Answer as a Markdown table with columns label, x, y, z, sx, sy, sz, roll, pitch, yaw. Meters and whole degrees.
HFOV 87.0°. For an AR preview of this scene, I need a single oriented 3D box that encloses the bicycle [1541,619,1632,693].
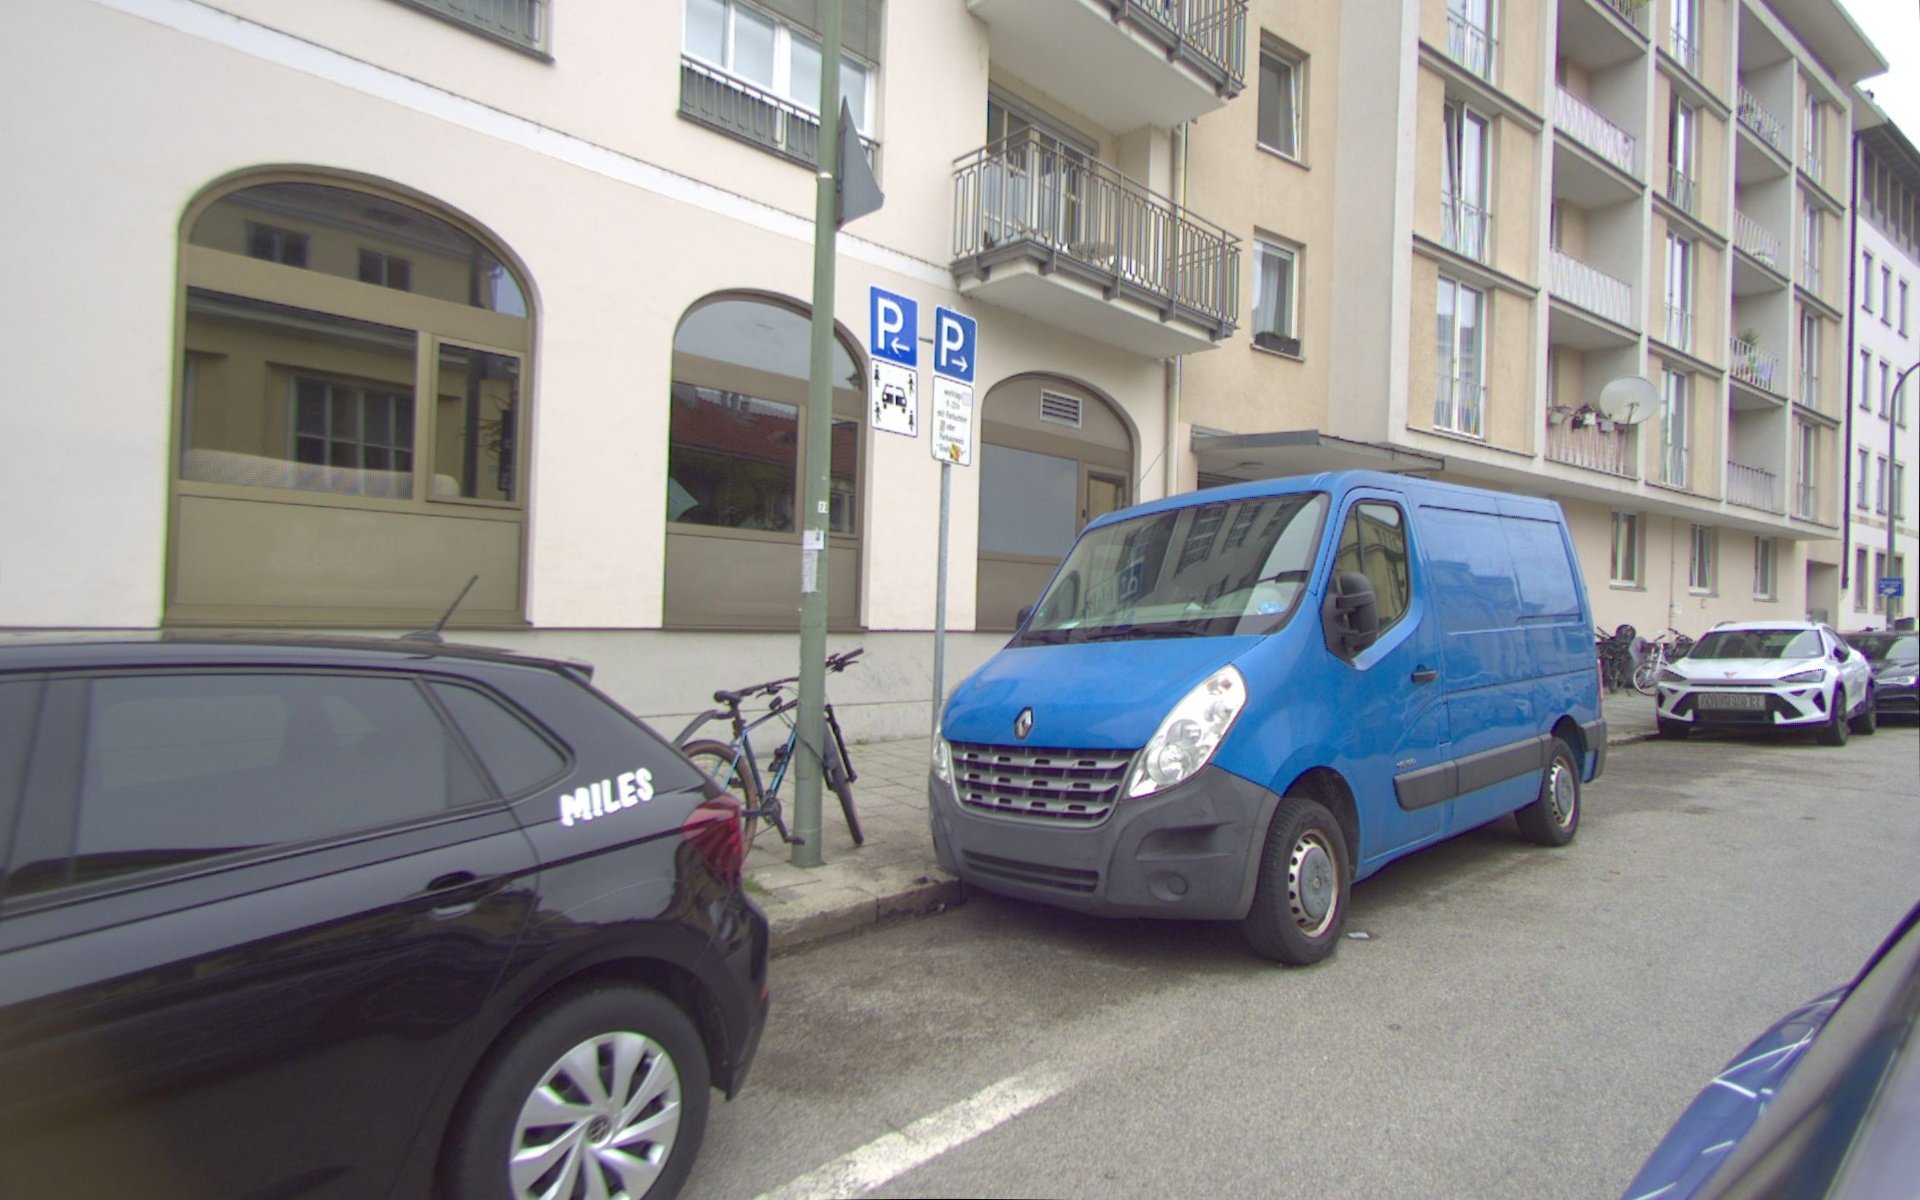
| label | x | y | z | sx | sy | sz | roll | pitch | yaw |
| --- | --- | --- | --- | --- | --- | --- | --- | --- | --- |
| bicycle | 10.912 | 0.984 | 17.619 | 1.533 | 1.216 | 0.399 | 2 | 3 | -20 |

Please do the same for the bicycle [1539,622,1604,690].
| label | x | y | z | sx | sy | sz | roll | pitch | yaw |
| --- | --- | --- | --- | --- | --- | --- | --- | --- | --- |
| bicycle | 11.520 | 1.051 | 19.057 | 1.315 | 1.216 | 0.395 | 1 | 3 | -31 |

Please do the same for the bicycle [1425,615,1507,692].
| label | x | y | z | sx | sy | sz | roll | pitch | yaw |
| --- | --- | --- | --- | --- | --- | --- | --- | --- | --- |
| bicycle | 8.428 | 0.882 | 16.845 | 1.366 | 1.216 | 0.449 | 1 | 3 | -29 |

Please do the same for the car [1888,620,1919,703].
| label | x | y | z | sx | sy | sz | roll | pitch | yaw |
| --- | --- | --- | --- | --- | --- | --- | --- | --- | --- |
| car | 19.210 | 1.128 | 19.139 | 4.043 | 1.488 | 1.705 | 2 | -4 | -37 |

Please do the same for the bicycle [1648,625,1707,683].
| label | x | y | z | sx | sy | sz | roll | pitch | yaw |
| --- | --- | --- | --- | --- | --- | --- | --- | --- | --- |
| bicycle | 15.283 | 1.137 | 21.547 | 1.571 | 1.171 | 0.515 | 2 | 1 | -37 |

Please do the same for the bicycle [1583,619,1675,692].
| label | x | y | z | sx | sy | sz | roll | pitch | yaw |
| --- | --- | --- | --- | --- | --- | --- | --- | --- | --- |
| bicycle | 12.753 | 1.042 | 19.308 | 1.337 | 1.216 | 0.388 | 6 | 4 | 42 |

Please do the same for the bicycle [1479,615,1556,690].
| label | x | y | z | sx | sy | sz | roll | pitch | yaw |
| --- | --- | --- | --- | --- | --- | --- | --- | --- | --- |
| bicycle | 9.685 | 0.903 | 17.574 | 1.366 | 1.216 | 0.449 | 1 | 3 | -29 |

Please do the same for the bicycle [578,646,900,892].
| label | x | y | z | sx | sy | sz | roll | pitch | yaw |
| --- | --- | --- | --- | --- | --- | --- | --- | --- | --- |
| bicycle | -1.139 | 0.828 | 5.590 | 0.564 | 1.083 | 1.762 | 2 | 0 | 37 |

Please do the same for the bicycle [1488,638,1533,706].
| label | x | y | z | sx | sy | sz | roll | pitch | yaw |
| --- | --- | --- | --- | --- | --- | --- | --- | --- | --- |
| bicycle | 8.529 | 1.091 | 15.661 | 0.445 | 0.904 | 1.184 | 5 | 4 | 33 |

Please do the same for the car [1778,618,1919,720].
| label | x | y | z | sx | sy | sz | roll | pitch | yaw |
| --- | --- | --- | --- | --- | --- | --- | --- | --- | --- |
| car | 15.151 | 1.072 | 16.337 | 4.603 | 1.448 | 1.777 | 2 | -4 | -35 |

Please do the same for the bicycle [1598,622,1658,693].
| label | x | y | z | sx | sy | sz | roll | pitch | yaw |
| --- | --- | --- | --- | --- | --- | --- | --- | --- | --- |
| bicycle | 12.254 | 1.038 | 18.556 | 1.345 | 1.216 | 0.448 | 1 | 4 | -38 |

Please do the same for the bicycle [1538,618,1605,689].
| label | x | y | z | sx | sy | sz | roll | pitch | yaw |
| --- | --- | --- | --- | --- | --- | --- | --- | --- | --- |
| bicycle | 11.034 | 0.955 | 18.246 | 1.259 | 1.216 | 0.419 | 1 | 4 | -32 |

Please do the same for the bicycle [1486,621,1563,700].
| label | x | y | z | sx | sy | sz | roll | pitch | yaw |
| --- | --- | --- | --- | --- | --- | --- | --- | --- | --- |
| bicycle | 9.233 | 0.974 | 16.538 | 1.257 | 1.216 | 0.415 | 1 | 3 | -29 |

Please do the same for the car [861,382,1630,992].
| label | x | y | z | sx | sy | sz | roll | pitch | yaw |
| --- | --- | --- | --- | --- | --- | --- | --- | --- | --- |
| car | 2.050 | 0.334 | 6.179 | 4.942 | 2.242 | 2.111 | -1 | -3 | -42 |

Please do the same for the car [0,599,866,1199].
| label | x | y | z | sx | sy | sz | roll | pitch | yaw |
| --- | --- | --- | --- | --- | --- | --- | --- | --- | --- |
| car | -2.220 | 0.728 | 1.952 | 1.713 | 1.413 | 3.937 | -3 | -3 | 43 |

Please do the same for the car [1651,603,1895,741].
| label | x | y | z | sx | sy | sz | roll | pitch | yaw |
| --- | --- | --- | --- | --- | --- | --- | --- | --- | --- |
| car | 10.832 | 0.908 | 13.381 | 4.228 | 1.543 | 1.777 | 3 | -4 | -41 |

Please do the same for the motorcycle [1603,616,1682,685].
| label | x | y | z | sx | sy | sz | roll | pitch | yaw |
| --- | --- | --- | --- | --- | --- | --- | --- | --- | --- |
| motorcycle | 13.707 | 1.003 | 20.301 | 2.003 | 1.287 | 0.637 | 2 | 1 | -37 |
